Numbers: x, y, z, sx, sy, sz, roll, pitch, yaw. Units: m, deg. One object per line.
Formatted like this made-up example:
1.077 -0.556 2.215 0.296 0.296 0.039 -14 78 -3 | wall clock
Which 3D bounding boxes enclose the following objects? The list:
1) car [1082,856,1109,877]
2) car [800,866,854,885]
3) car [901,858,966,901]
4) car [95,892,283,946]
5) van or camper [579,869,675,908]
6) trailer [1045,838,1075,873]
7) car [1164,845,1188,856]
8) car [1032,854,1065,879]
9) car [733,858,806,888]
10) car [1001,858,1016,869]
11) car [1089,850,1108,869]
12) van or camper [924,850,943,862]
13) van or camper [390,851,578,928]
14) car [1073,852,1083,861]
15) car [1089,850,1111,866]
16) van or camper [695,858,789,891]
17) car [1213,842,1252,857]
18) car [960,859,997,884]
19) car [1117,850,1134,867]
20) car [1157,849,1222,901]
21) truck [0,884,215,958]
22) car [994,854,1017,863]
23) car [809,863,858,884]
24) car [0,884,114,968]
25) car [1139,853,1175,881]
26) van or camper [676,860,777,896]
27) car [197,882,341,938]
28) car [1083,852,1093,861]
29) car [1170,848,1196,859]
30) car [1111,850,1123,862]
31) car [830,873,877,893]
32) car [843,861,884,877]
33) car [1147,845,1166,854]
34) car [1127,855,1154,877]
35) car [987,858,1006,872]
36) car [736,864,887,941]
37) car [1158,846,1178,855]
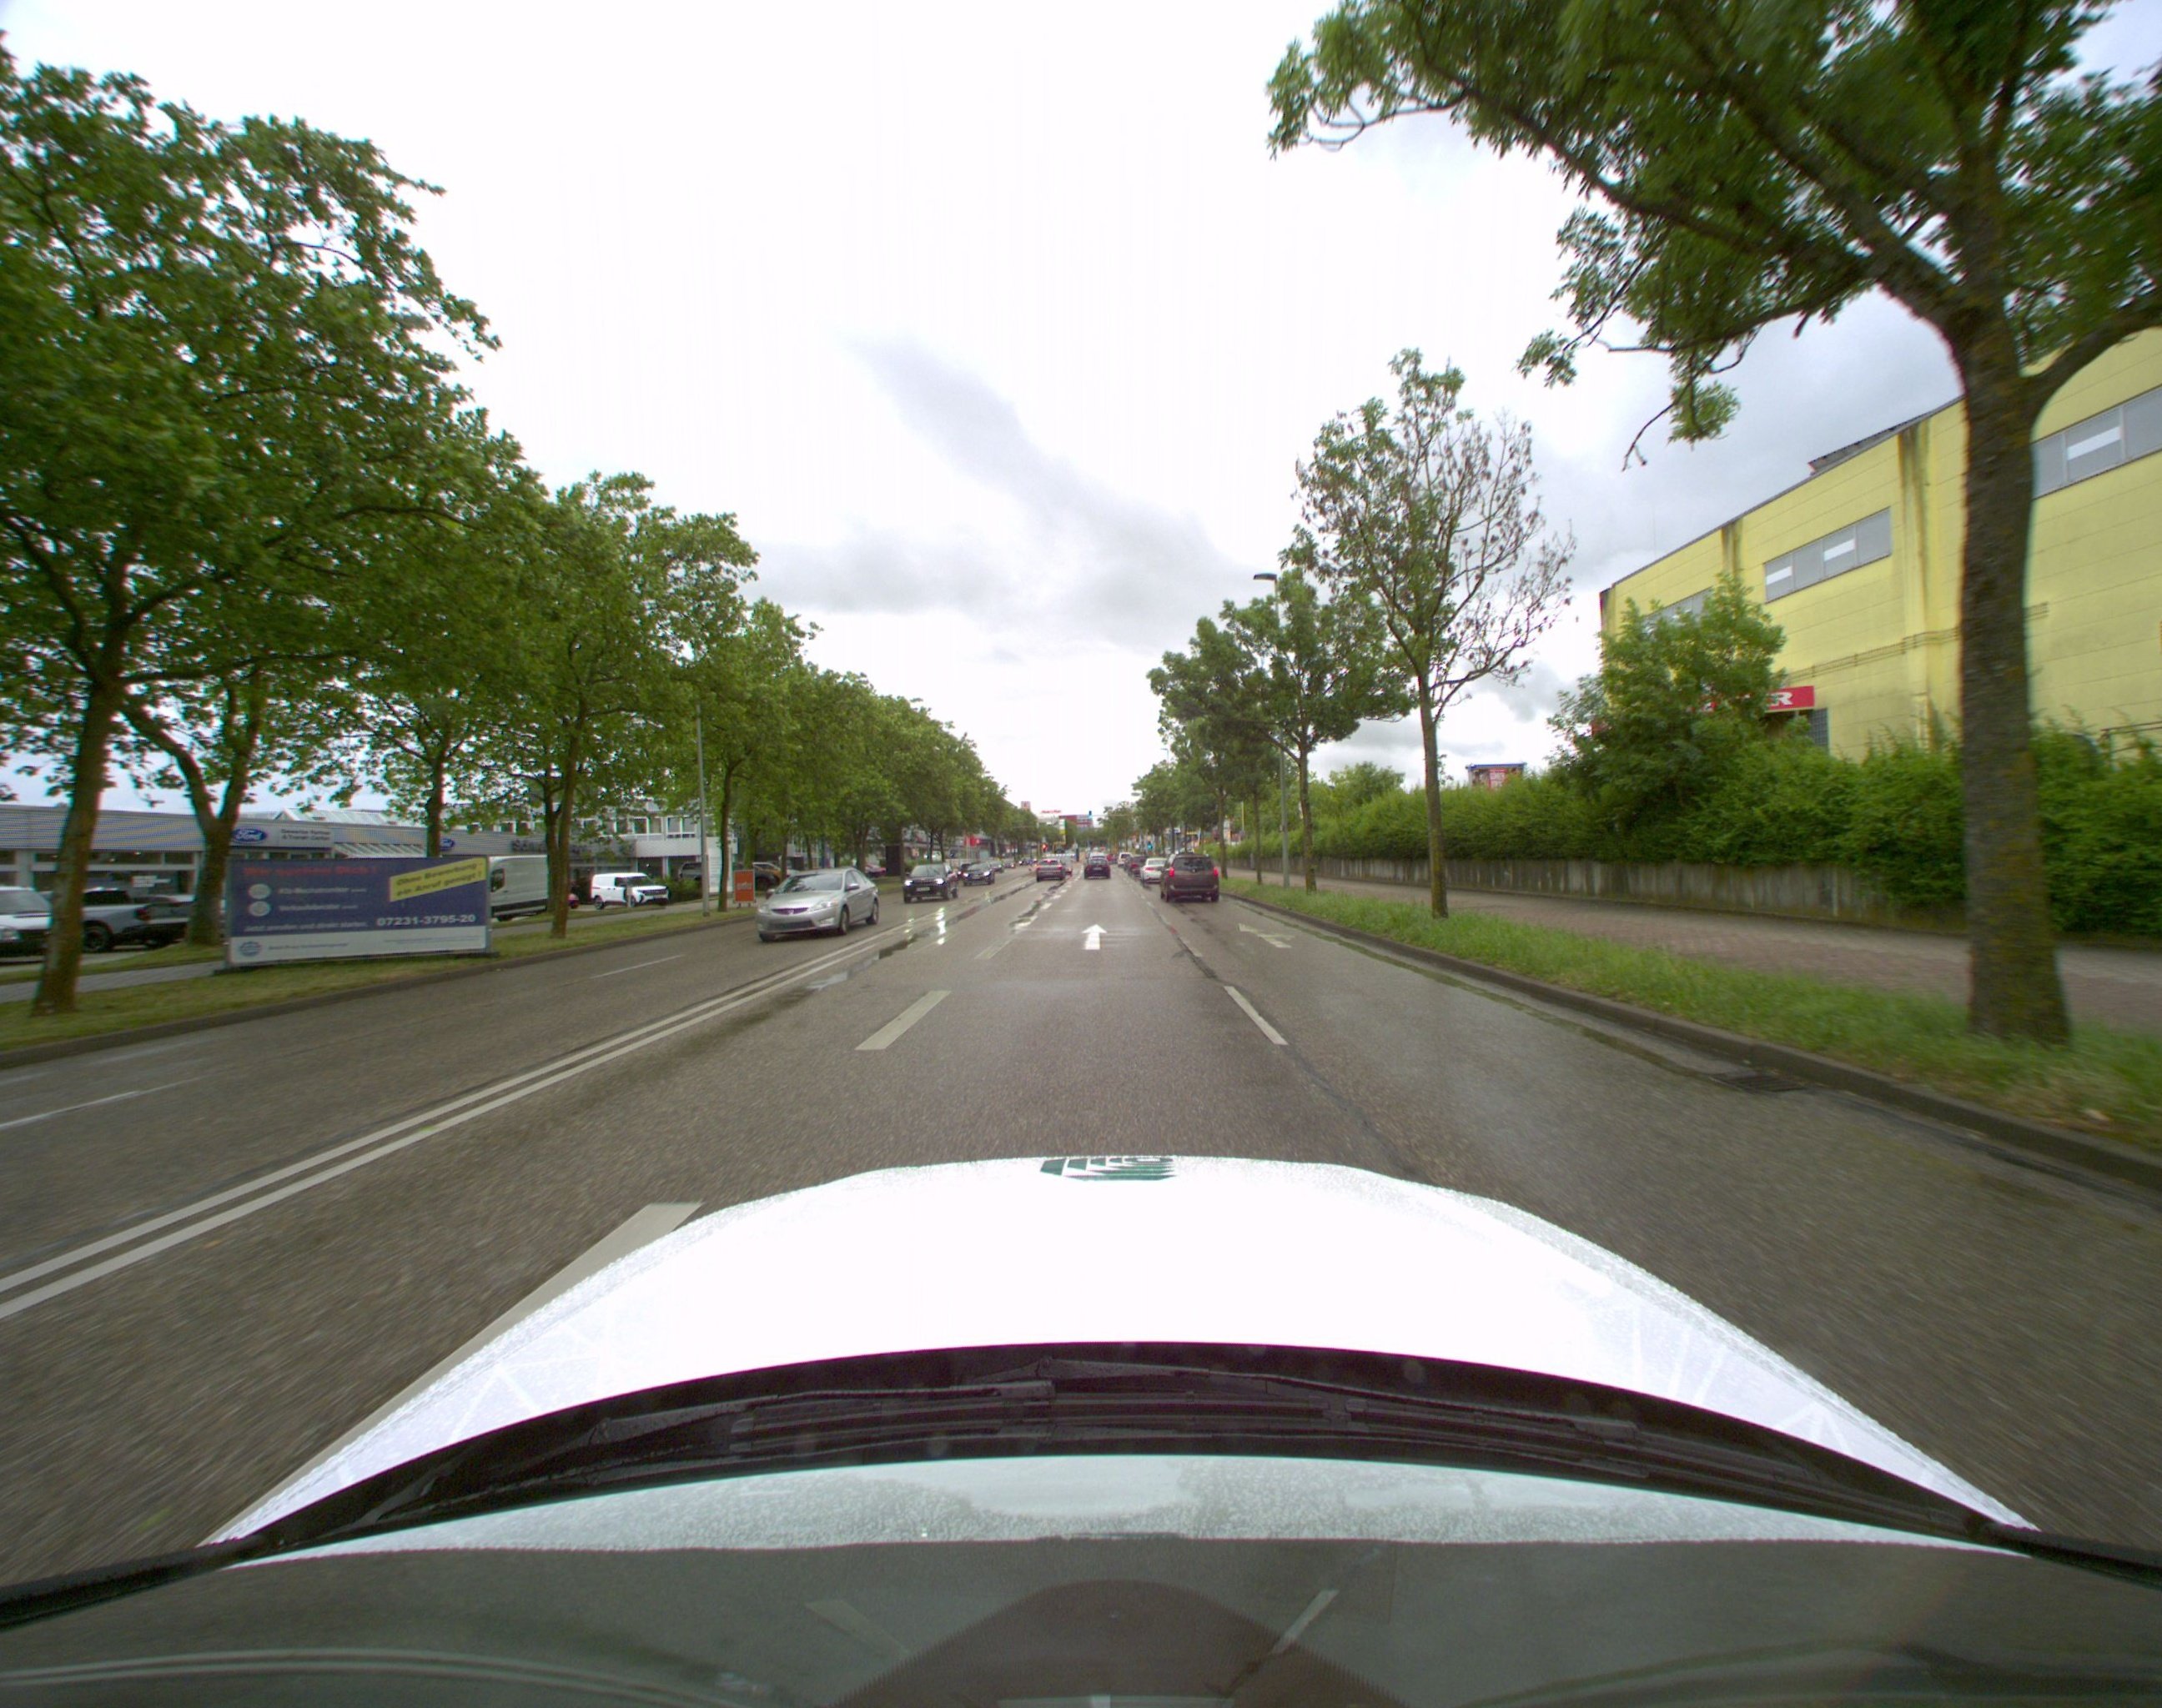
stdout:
1.017 0.881 57.798 1.776 1.398 4.000 -1 0 0 | car
-23.027 1.896 73.771 4.572 1.596 1.985 -1 -1 -22 | car
-5.945 0.993 33.218 1.756 1.531 3.859 -4 0 1 | car
-29.014 2.085 26.590 3.969 1.461 2.036 -2 0 4 | car
-23.181 1.769 41.559 4.589 1.784 1.850 -2 0 25 | van or camper
-1.813 0.140 72.372 2.365 2.897 5.544 -3 0 0 | trailer
16.864 -0.627 144.537 4.048 1.662 1.959 -5 2 -39 | car
-2.240 0.862 57.207 1.900 1.578 4.881 -3 0 1 | car
-21.141 1.266 55.389 4.472 1.816 1.985 -2 0 -22 | car
-10.114 1.348 113.911 1.705 1.465 4.084 -3 0 -1 | car
1.935 0.651 90.991 1.987 2.014 4.000 0 -1 1 | car
-23.515 0.342 129.931 1.987 1.967 4.788 0 -1 1 | van or camper
-21.348 1.160 29.618 1.986 2.470 6.403 -1 0 1 | van or camper
-0.613 0.651 182.671 1.986 2.014 4.001 0 -1 1 | car
1.667 0.353 73.536 1.678 1.377 3.996 -2 0 -3 | car
-21.655 1.293 52.238 5.380 1.770 2.089 -2 -3 -22 | van or camper
16.469 -0.465 88.681 3.971 1.442 1.656 -2 0 2 | car
-6.630 1.094 53.147 1.660 1.462 4.182 -3 0 2 | car
5.414 0.539 98.455 1.776 1.866 4.000 -3 0 0 | car
3.715 0.682 28.588 1.720 1.624 4.471 -2 0 1 | car
-28.617 1.926 23.858 3.986 1.838 1.994 -2 0 -9 | truck
-14.080 0.861 151.492 3.948 1.552 1.912 -2 0 35 | car
-23.419 1.829 77.059 4.237 1.653 1.997 -3 -1 -23 | car
-28.482 1.857 20.387 5.363 1.903 2.413 -2 0 -3 | car
4.398 0.734 47.677 1.794 1.544 4.621 0 0 1 | car
-20.810 1.351 47.953 5.308 1.821 2.248 -2 0 -25 | van or camper
-28.965 1.988 29.080 3.957 1.767 1.873 -2 0 16 | car
1.497 0.540 175.180 1.986 2.014 4.001 0 -1 1 | car
16.556 -0.087 131.967 1.907 1.576 4.315 -2 0 42 | car
5.162 0.292 116.897 1.678 1.684 3.404 0 -1 2 | car
-22.593 2.873 80.973 4.237 1.596 1.985 -4 0 -23 | car
-23.431 1.634 87.863 3.972 1.489 1.876 -2 0 -4 | car
16.613 -1.036 179.790 4.095 1.904 1.801 -3 0 2 | car
4.492 0.856 61.885 1.794 1.587 4.452 0 0 1 | car
-9.692 1.287 93.327 1.705 1.465 4.084 -3 0 -1 | car
-6.095 1.017 19.064 1.988 1.429 4.682 -3 0 -1 | car
16.070 -0.608 150.288 3.617 1.536 1.625 -2 0 -39 | car
